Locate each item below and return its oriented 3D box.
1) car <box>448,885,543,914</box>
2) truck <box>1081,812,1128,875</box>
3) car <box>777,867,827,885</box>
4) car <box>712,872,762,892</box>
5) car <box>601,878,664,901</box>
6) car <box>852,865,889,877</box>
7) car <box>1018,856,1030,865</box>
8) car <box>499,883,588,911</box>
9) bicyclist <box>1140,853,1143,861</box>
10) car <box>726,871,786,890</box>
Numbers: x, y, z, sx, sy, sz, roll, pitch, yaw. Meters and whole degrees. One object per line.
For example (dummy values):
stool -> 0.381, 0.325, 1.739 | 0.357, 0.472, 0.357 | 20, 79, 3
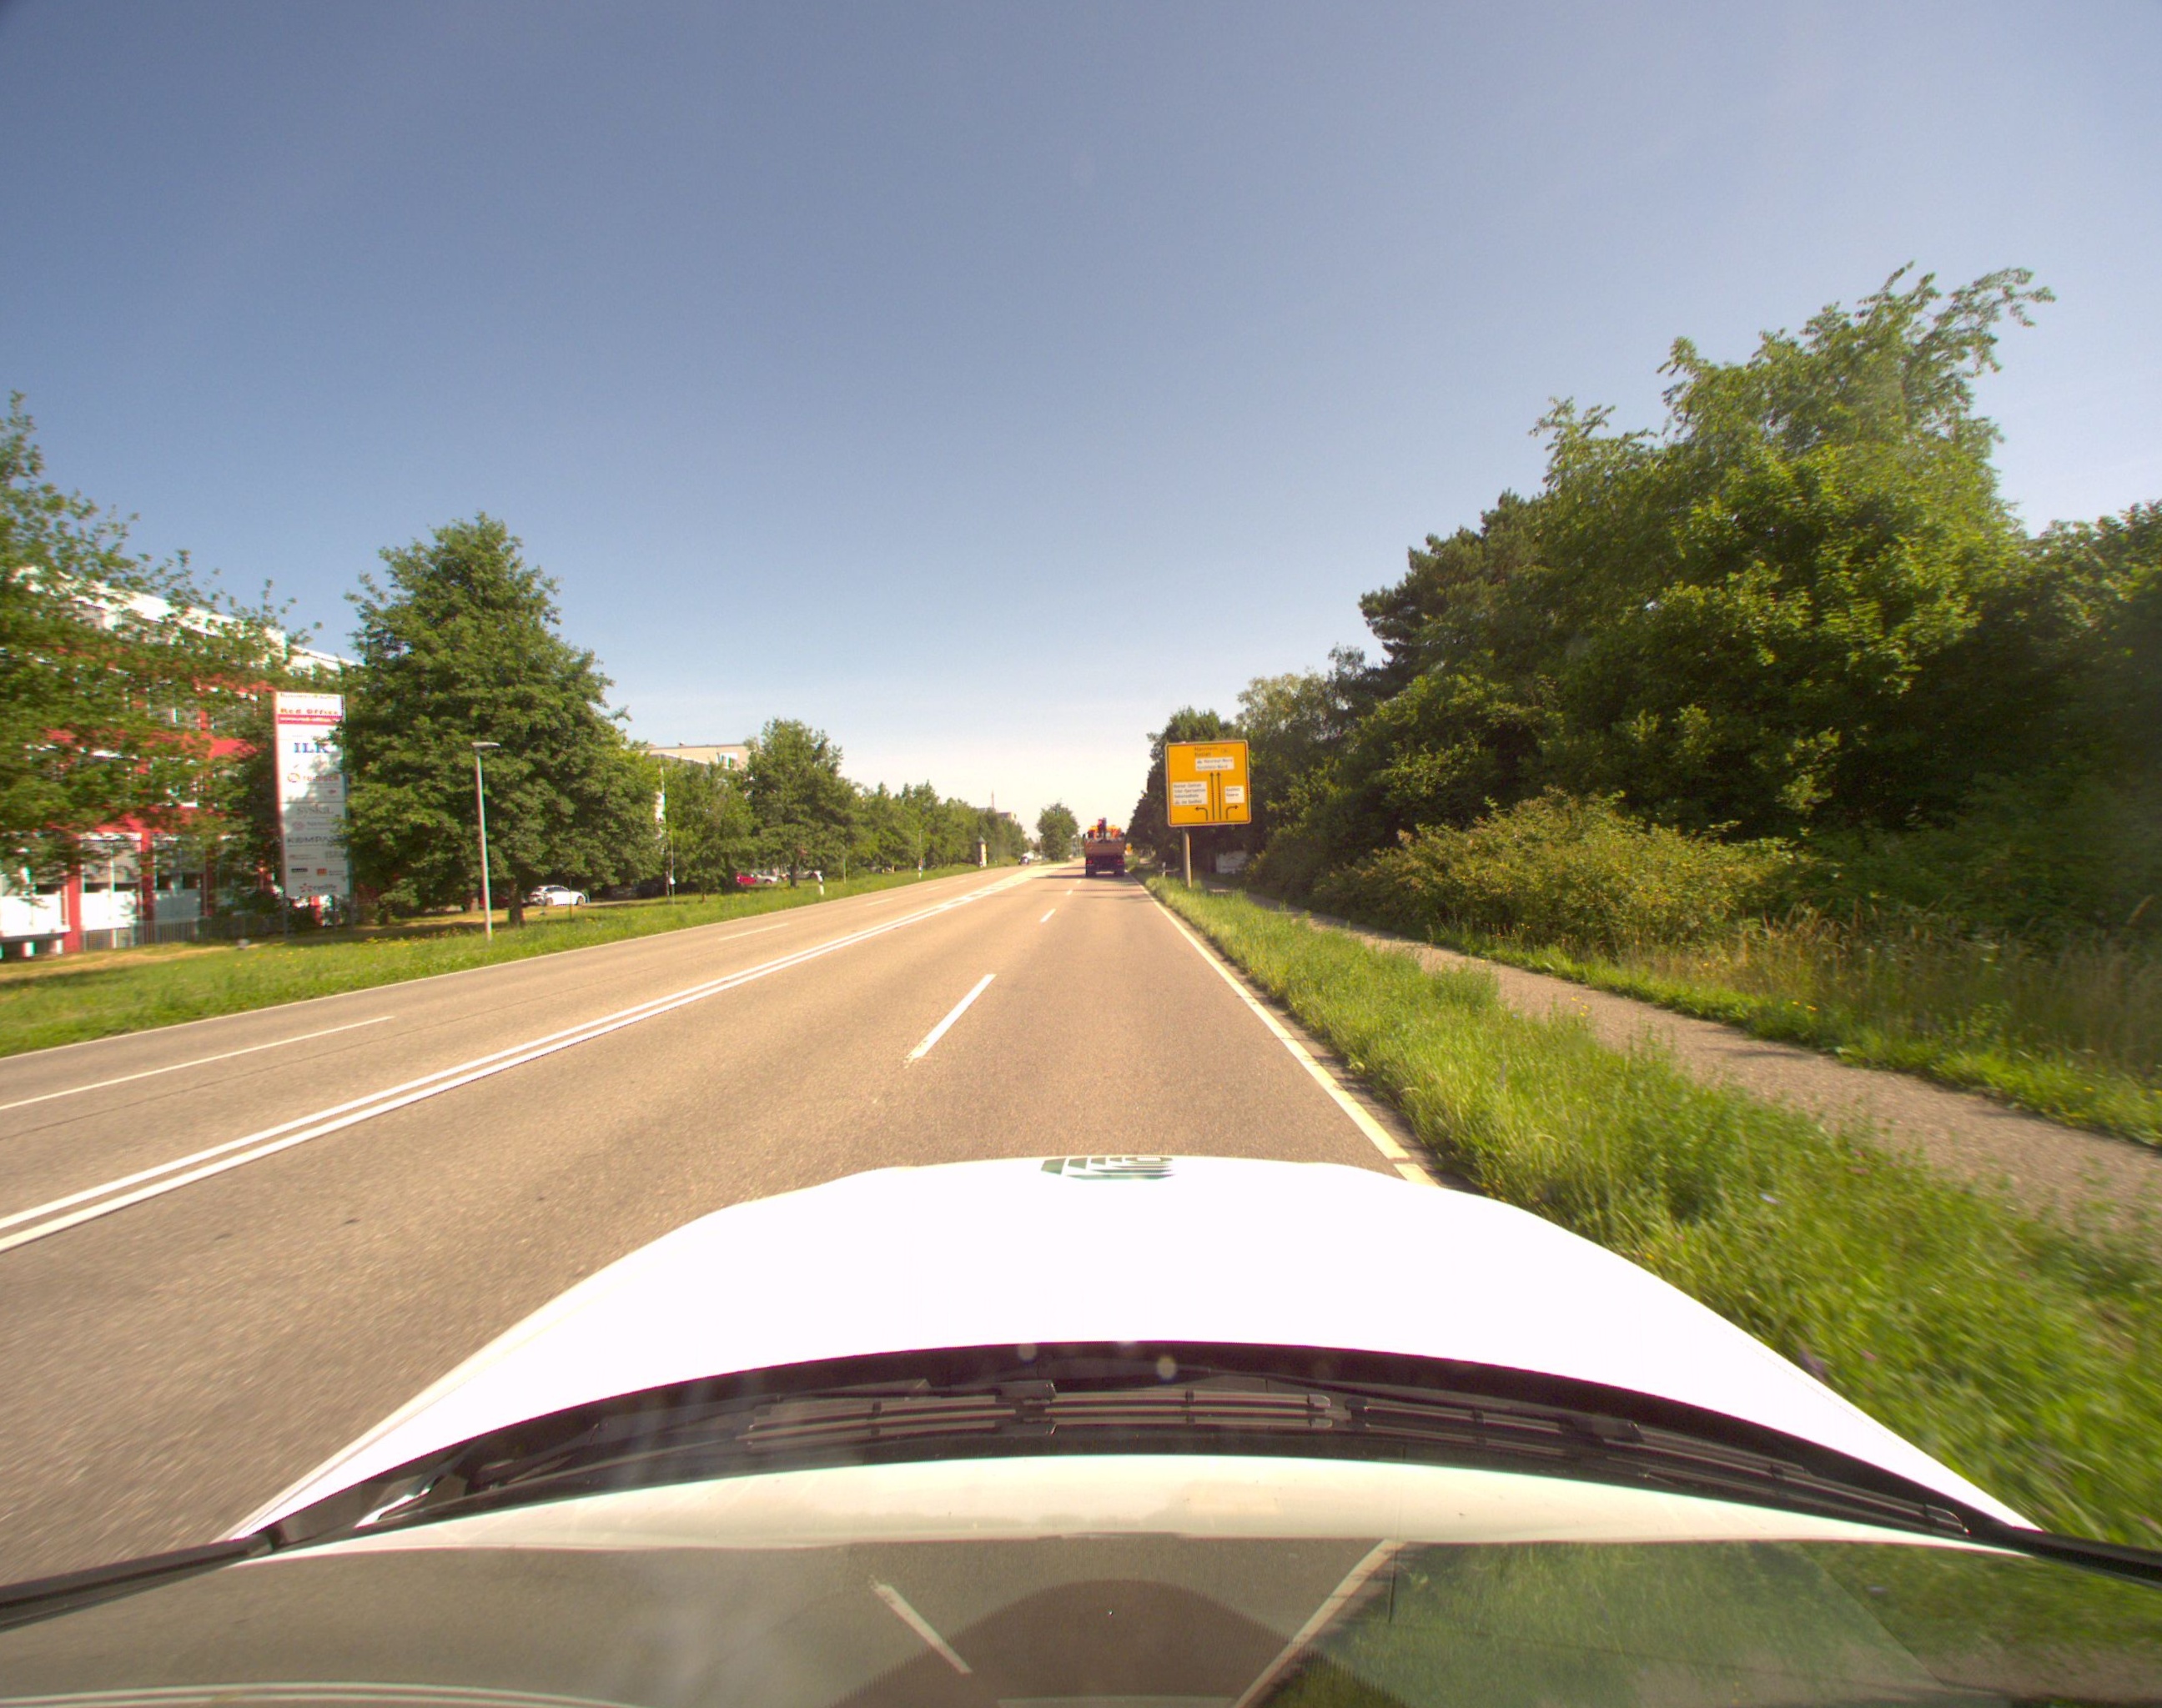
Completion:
car -> -35.850, 2.748, 50.045 | 1.985, 1.437, 4.959 | -2, 0, 3
truck -> 1.449, -0.647, 53.944 | 2.863, 3.880, 7.398 | 0, 0, 0
car -> -29.636, 2.333, 86.636 | 4.578, 1.650, 2.001 | -2, 0, 1
car -> -28.837, 2.329, 68.448 | 1.985, 1.437, 4.615 | -2, 0, 4
car -> -33.282, 2.601, 60.556 | 1.986, 1.437, 4.612 | -2, 0, 2
car -> -29.339, 2.321, 113.677 | 4.578, 1.437, 2.001 | -2, 0, 1
car -> -11.033, 1.244, 157.236 | 1.794, 1.572, 4.001 | -3, 0, 1
car -> -33.236, 2.627, 50.584 | 1.985, 1.437, 4.959 | -2, 0, 3
bicyclist -> 11.999, 0.605, 162.218 | 0.556, 1.558, 0.558 | -3, 0, 1
car -> -29.768, 2.415, 74.632 | 4.578, 1.437, 2.001 | -2, 0, 1
